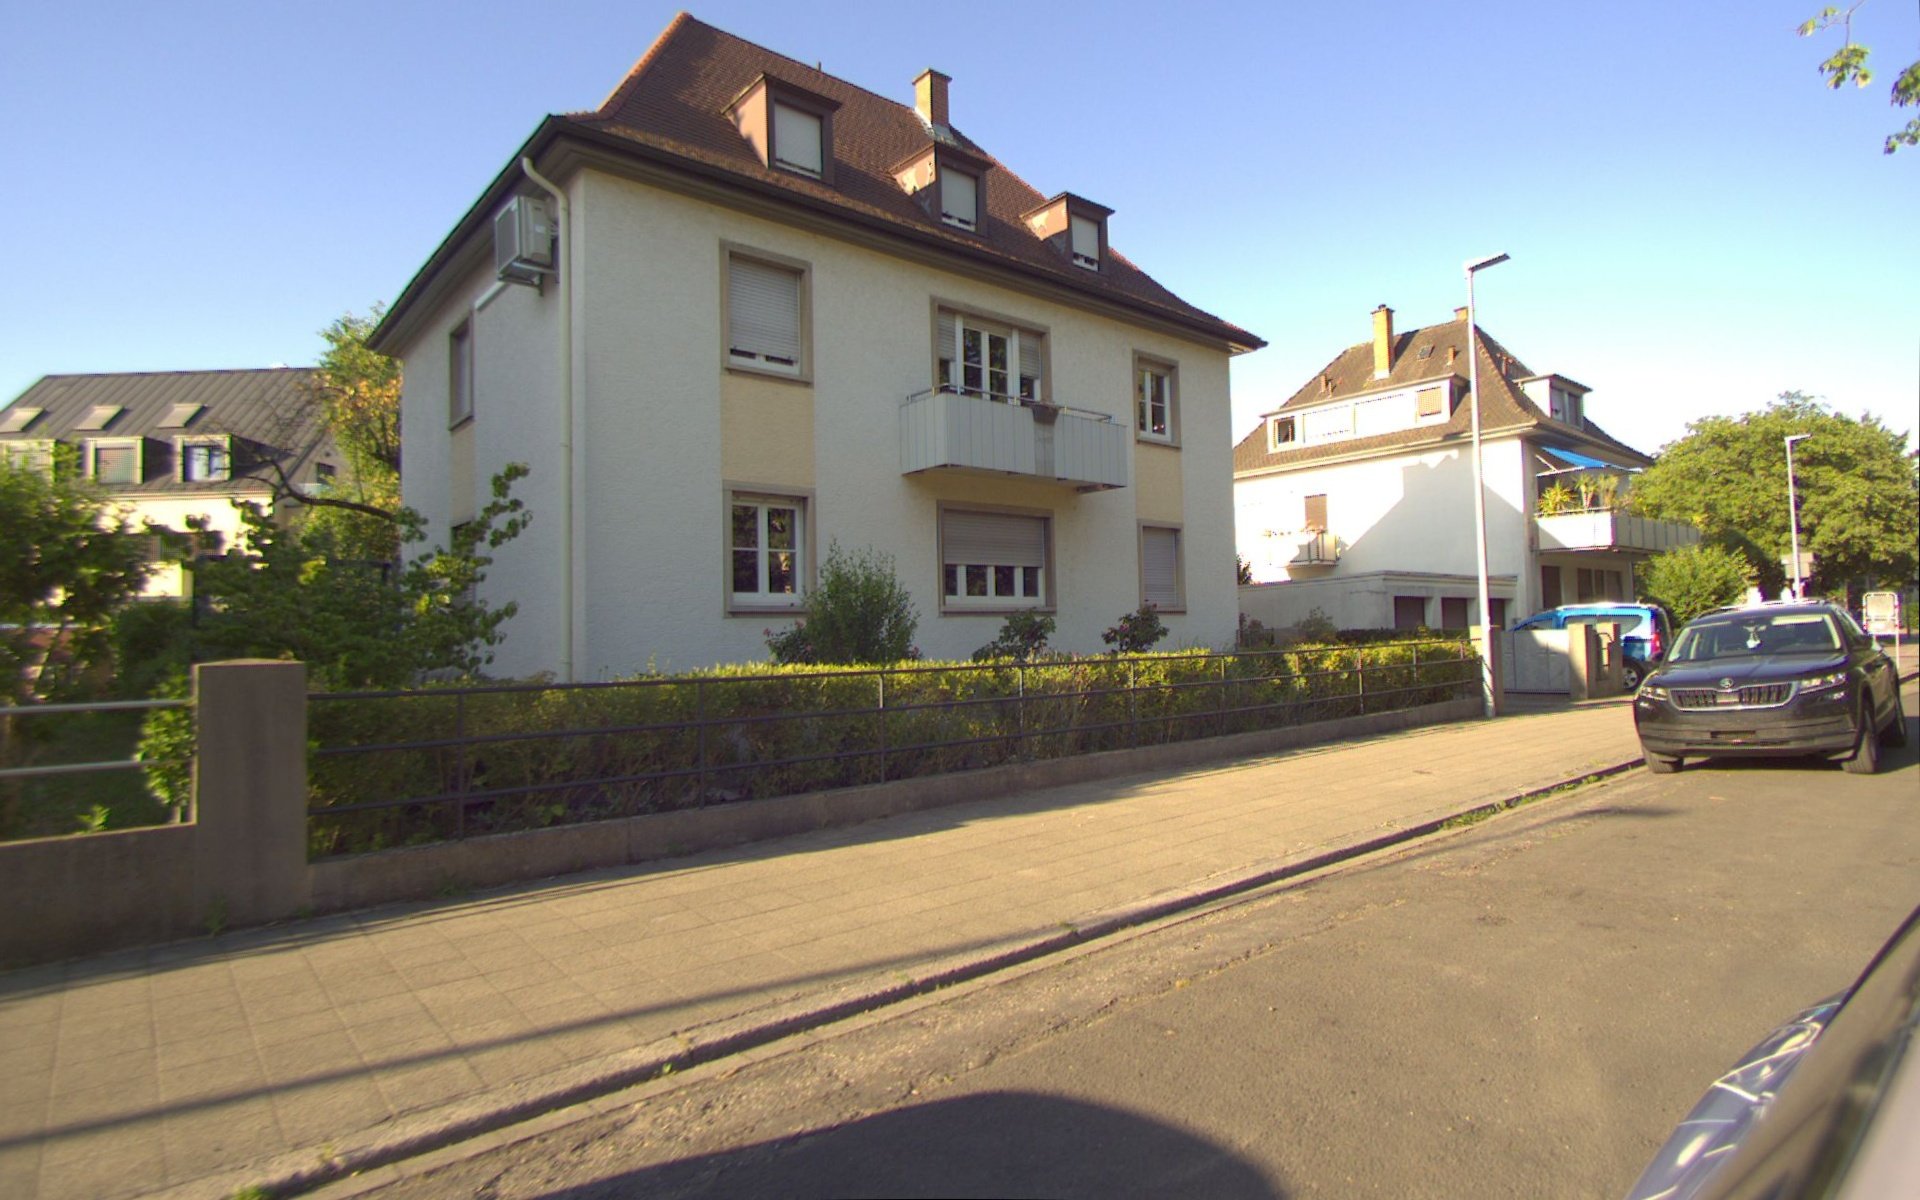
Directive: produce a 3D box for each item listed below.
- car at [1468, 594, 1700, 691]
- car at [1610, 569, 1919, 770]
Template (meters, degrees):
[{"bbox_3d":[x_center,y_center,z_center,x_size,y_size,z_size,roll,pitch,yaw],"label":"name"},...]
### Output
[{"bbox_3d":[13.765,0.936,22.474,1.966,1.953,3.989,1,-3,-43],"label":"car"},{"bbox_3d":[8.874,0.727,10.939,4.391,1.743,1.859,1,-8,-42],"label":"car"}]
